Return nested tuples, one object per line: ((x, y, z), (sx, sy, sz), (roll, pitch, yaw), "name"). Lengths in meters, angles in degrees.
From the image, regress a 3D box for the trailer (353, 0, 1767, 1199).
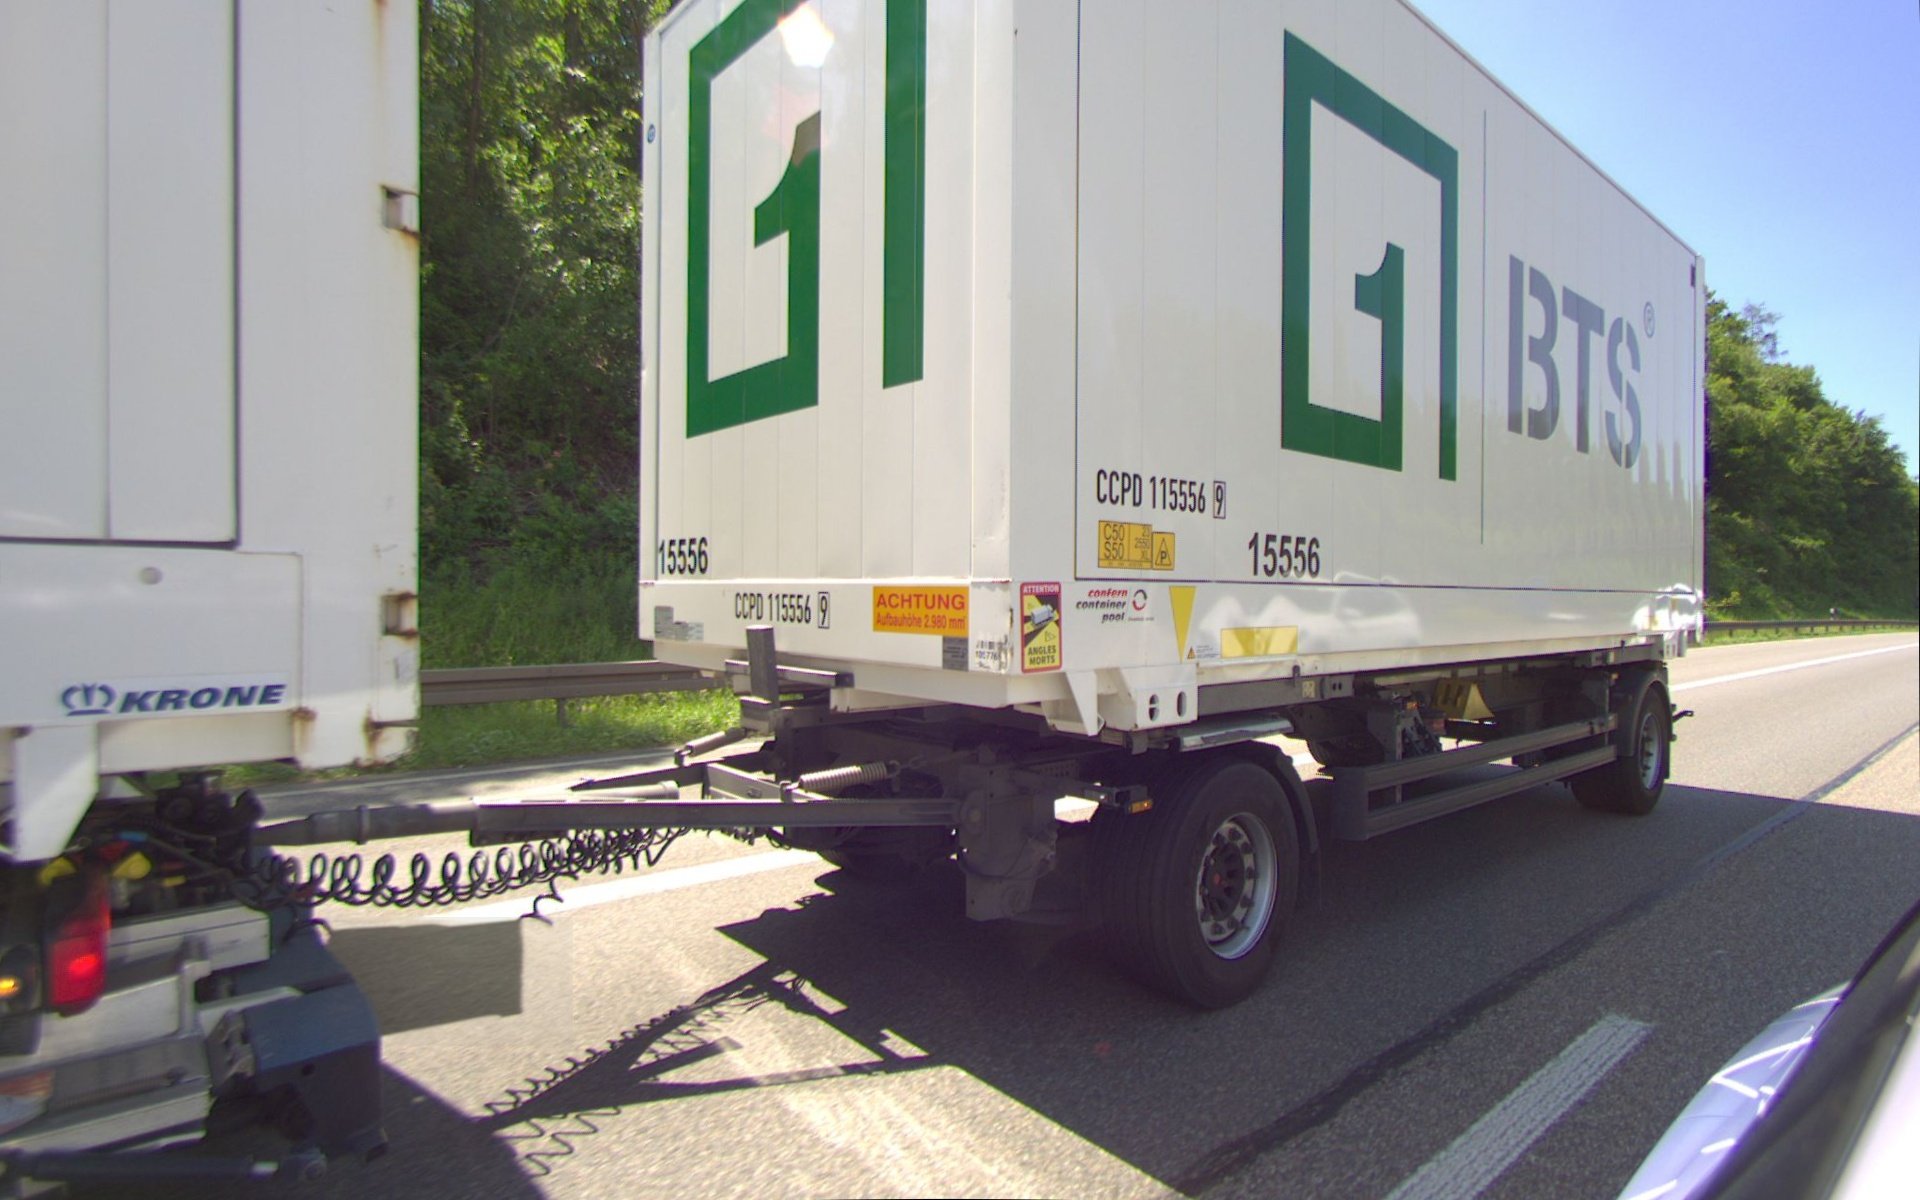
((2.208, -0.709, 6.286), (9.888, 4.229, 2.684), (1, -1, -41), "trailer")
